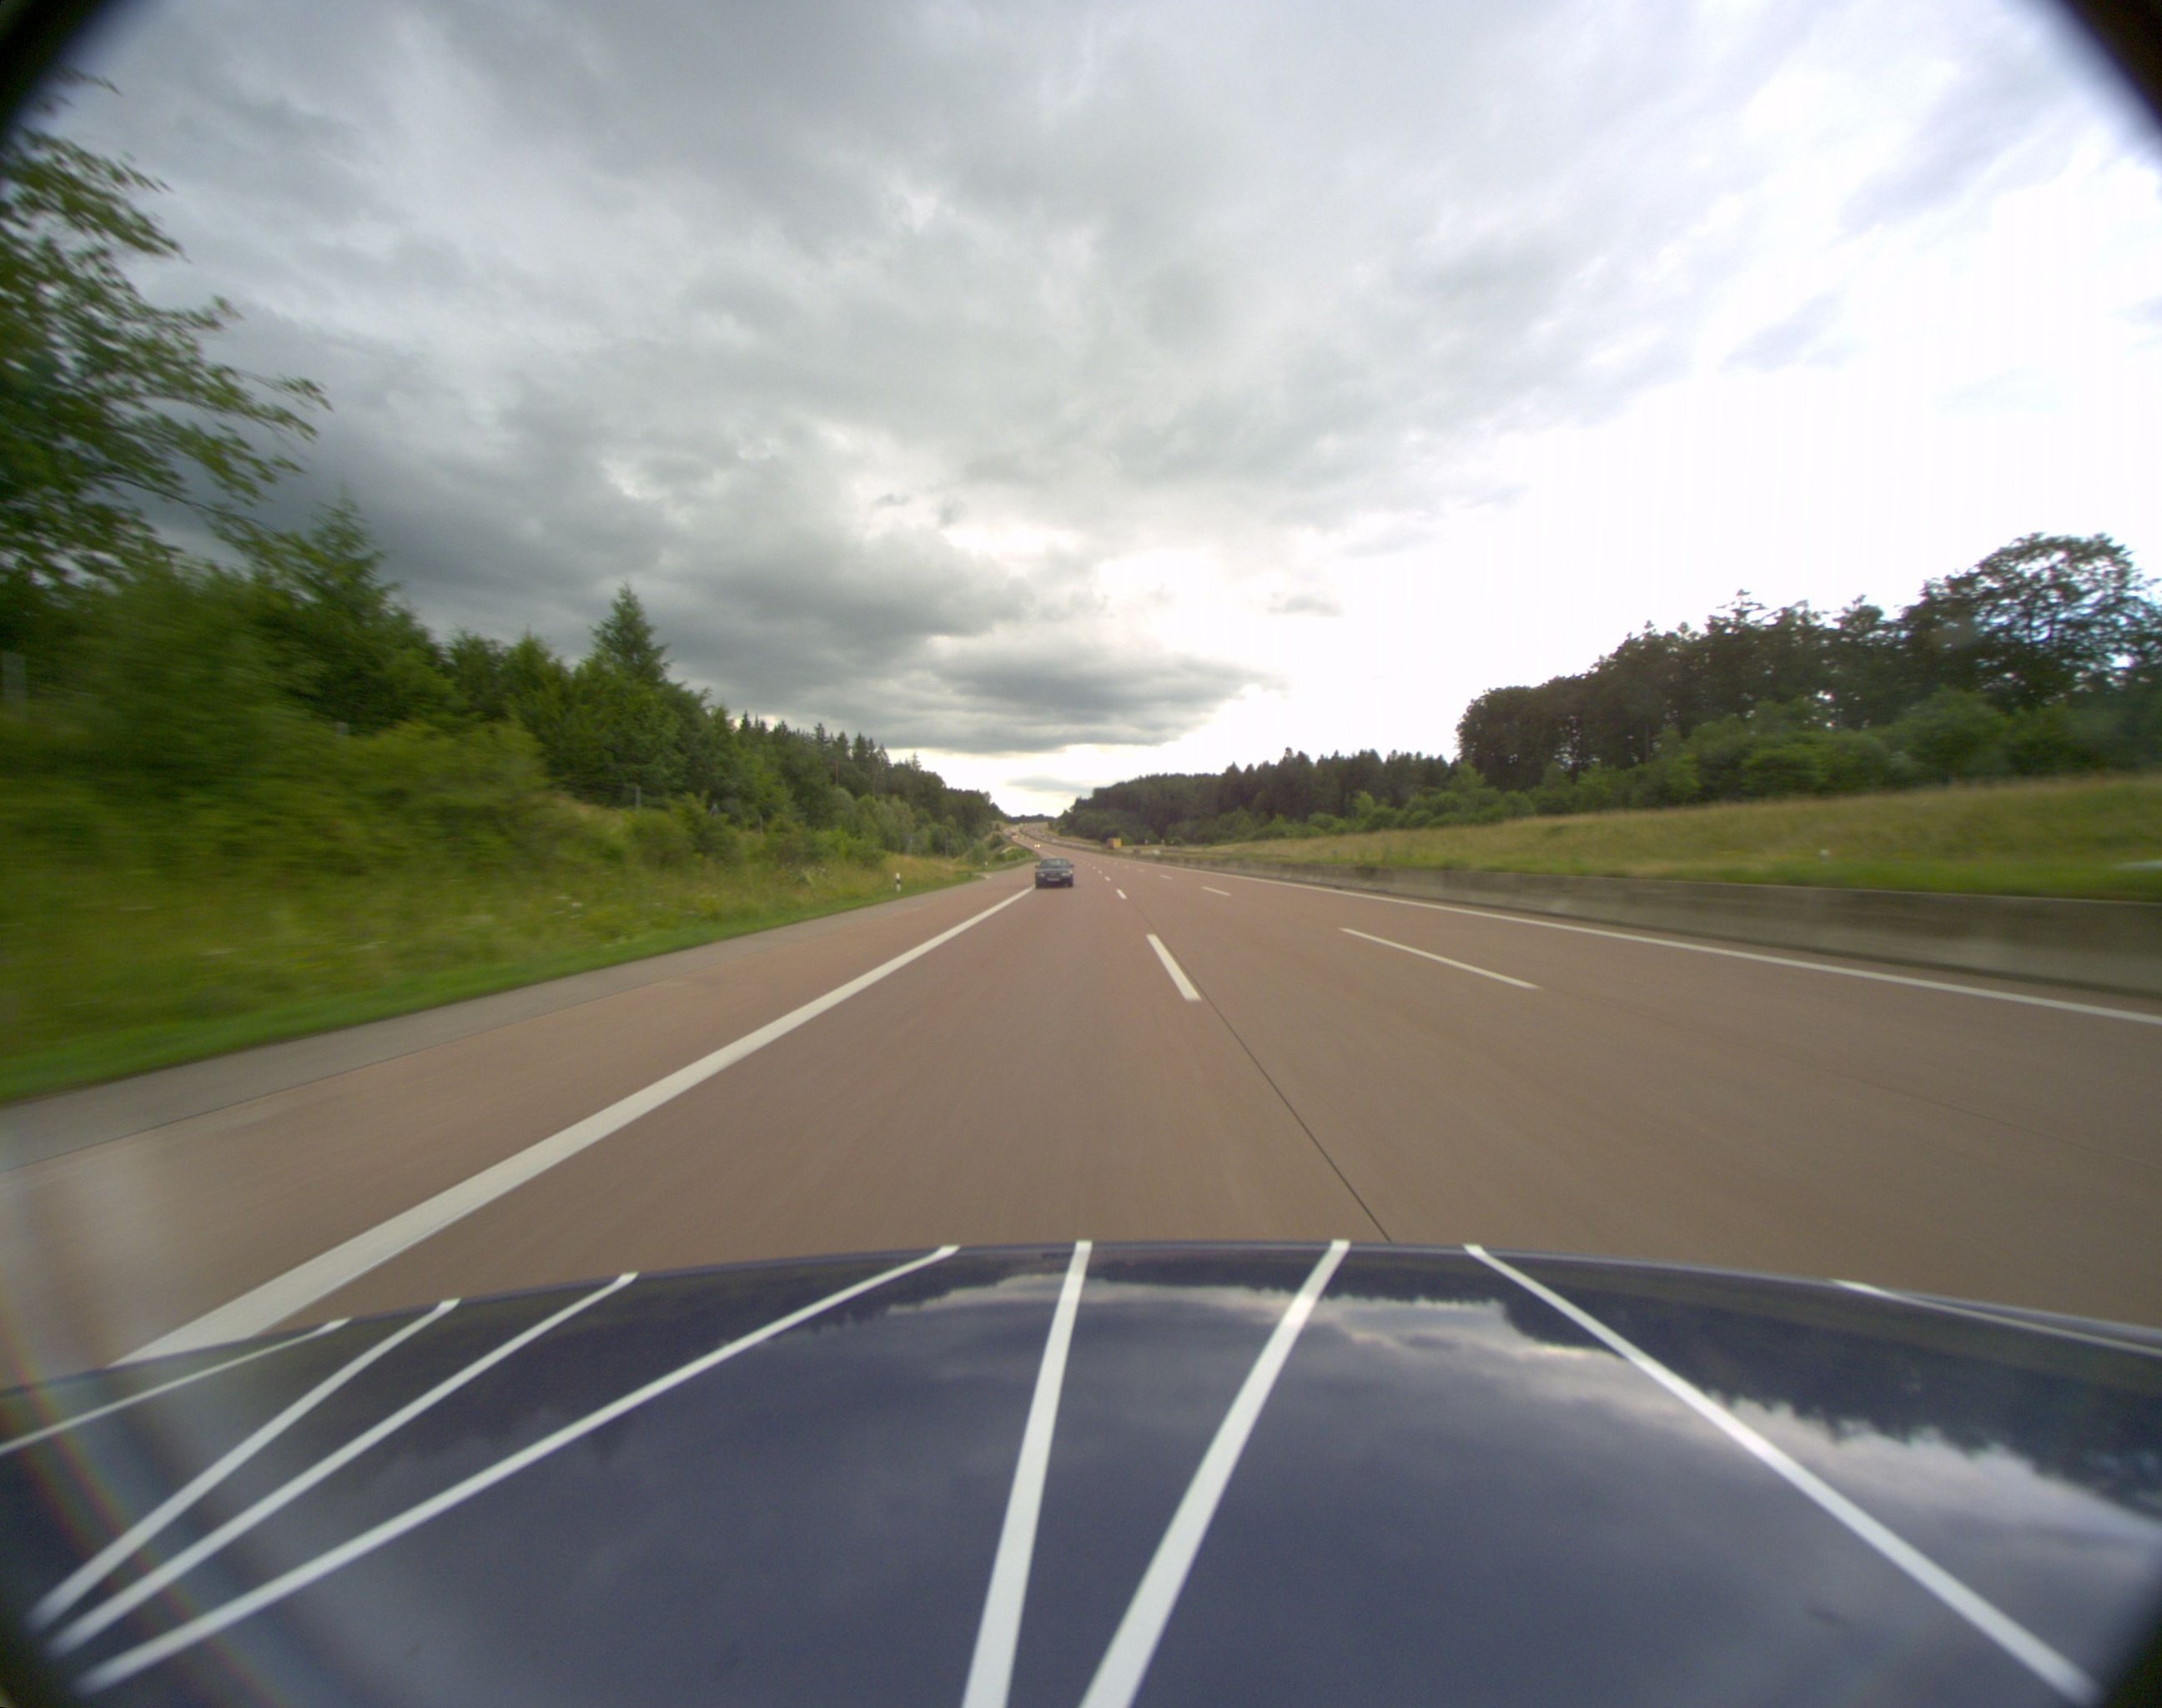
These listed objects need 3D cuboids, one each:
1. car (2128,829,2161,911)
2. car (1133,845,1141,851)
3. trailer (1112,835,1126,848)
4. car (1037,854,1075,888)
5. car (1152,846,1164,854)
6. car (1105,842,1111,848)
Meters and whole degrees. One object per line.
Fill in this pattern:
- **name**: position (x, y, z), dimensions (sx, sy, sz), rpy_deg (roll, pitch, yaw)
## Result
- **car**: position (19.540, 0.324, 11.683), dimensions (1.600, 1.409, 3.803), rpy_deg (-2, 2, 0)
- **car**: position (15.977, -1.667, 216.213), dimensions (1.767, 1.629, 4.377), rpy_deg (-2, 2, -3)
- **trailer**: position (13.308, -4.494, 265.507), dimensions (3.042, 4.019, 14.521), rpy_deg (-2, 2, -4)
- **car**: position (-1.149, 0.755, 36.321), dimensions (1.676, 1.395, 4.231), rpy_deg (-1, 2, 0)
- **car**: position (16.385, -0.782, 162.012), dimensions (1.674, 1.517, 4.823), rpy_deg (-2, 2, -3)
- **car**: position (9.214, -3.088, 258.418), dimensions (1.767, 1.629, 4.377), rpy_deg (-2, 2, -3)
